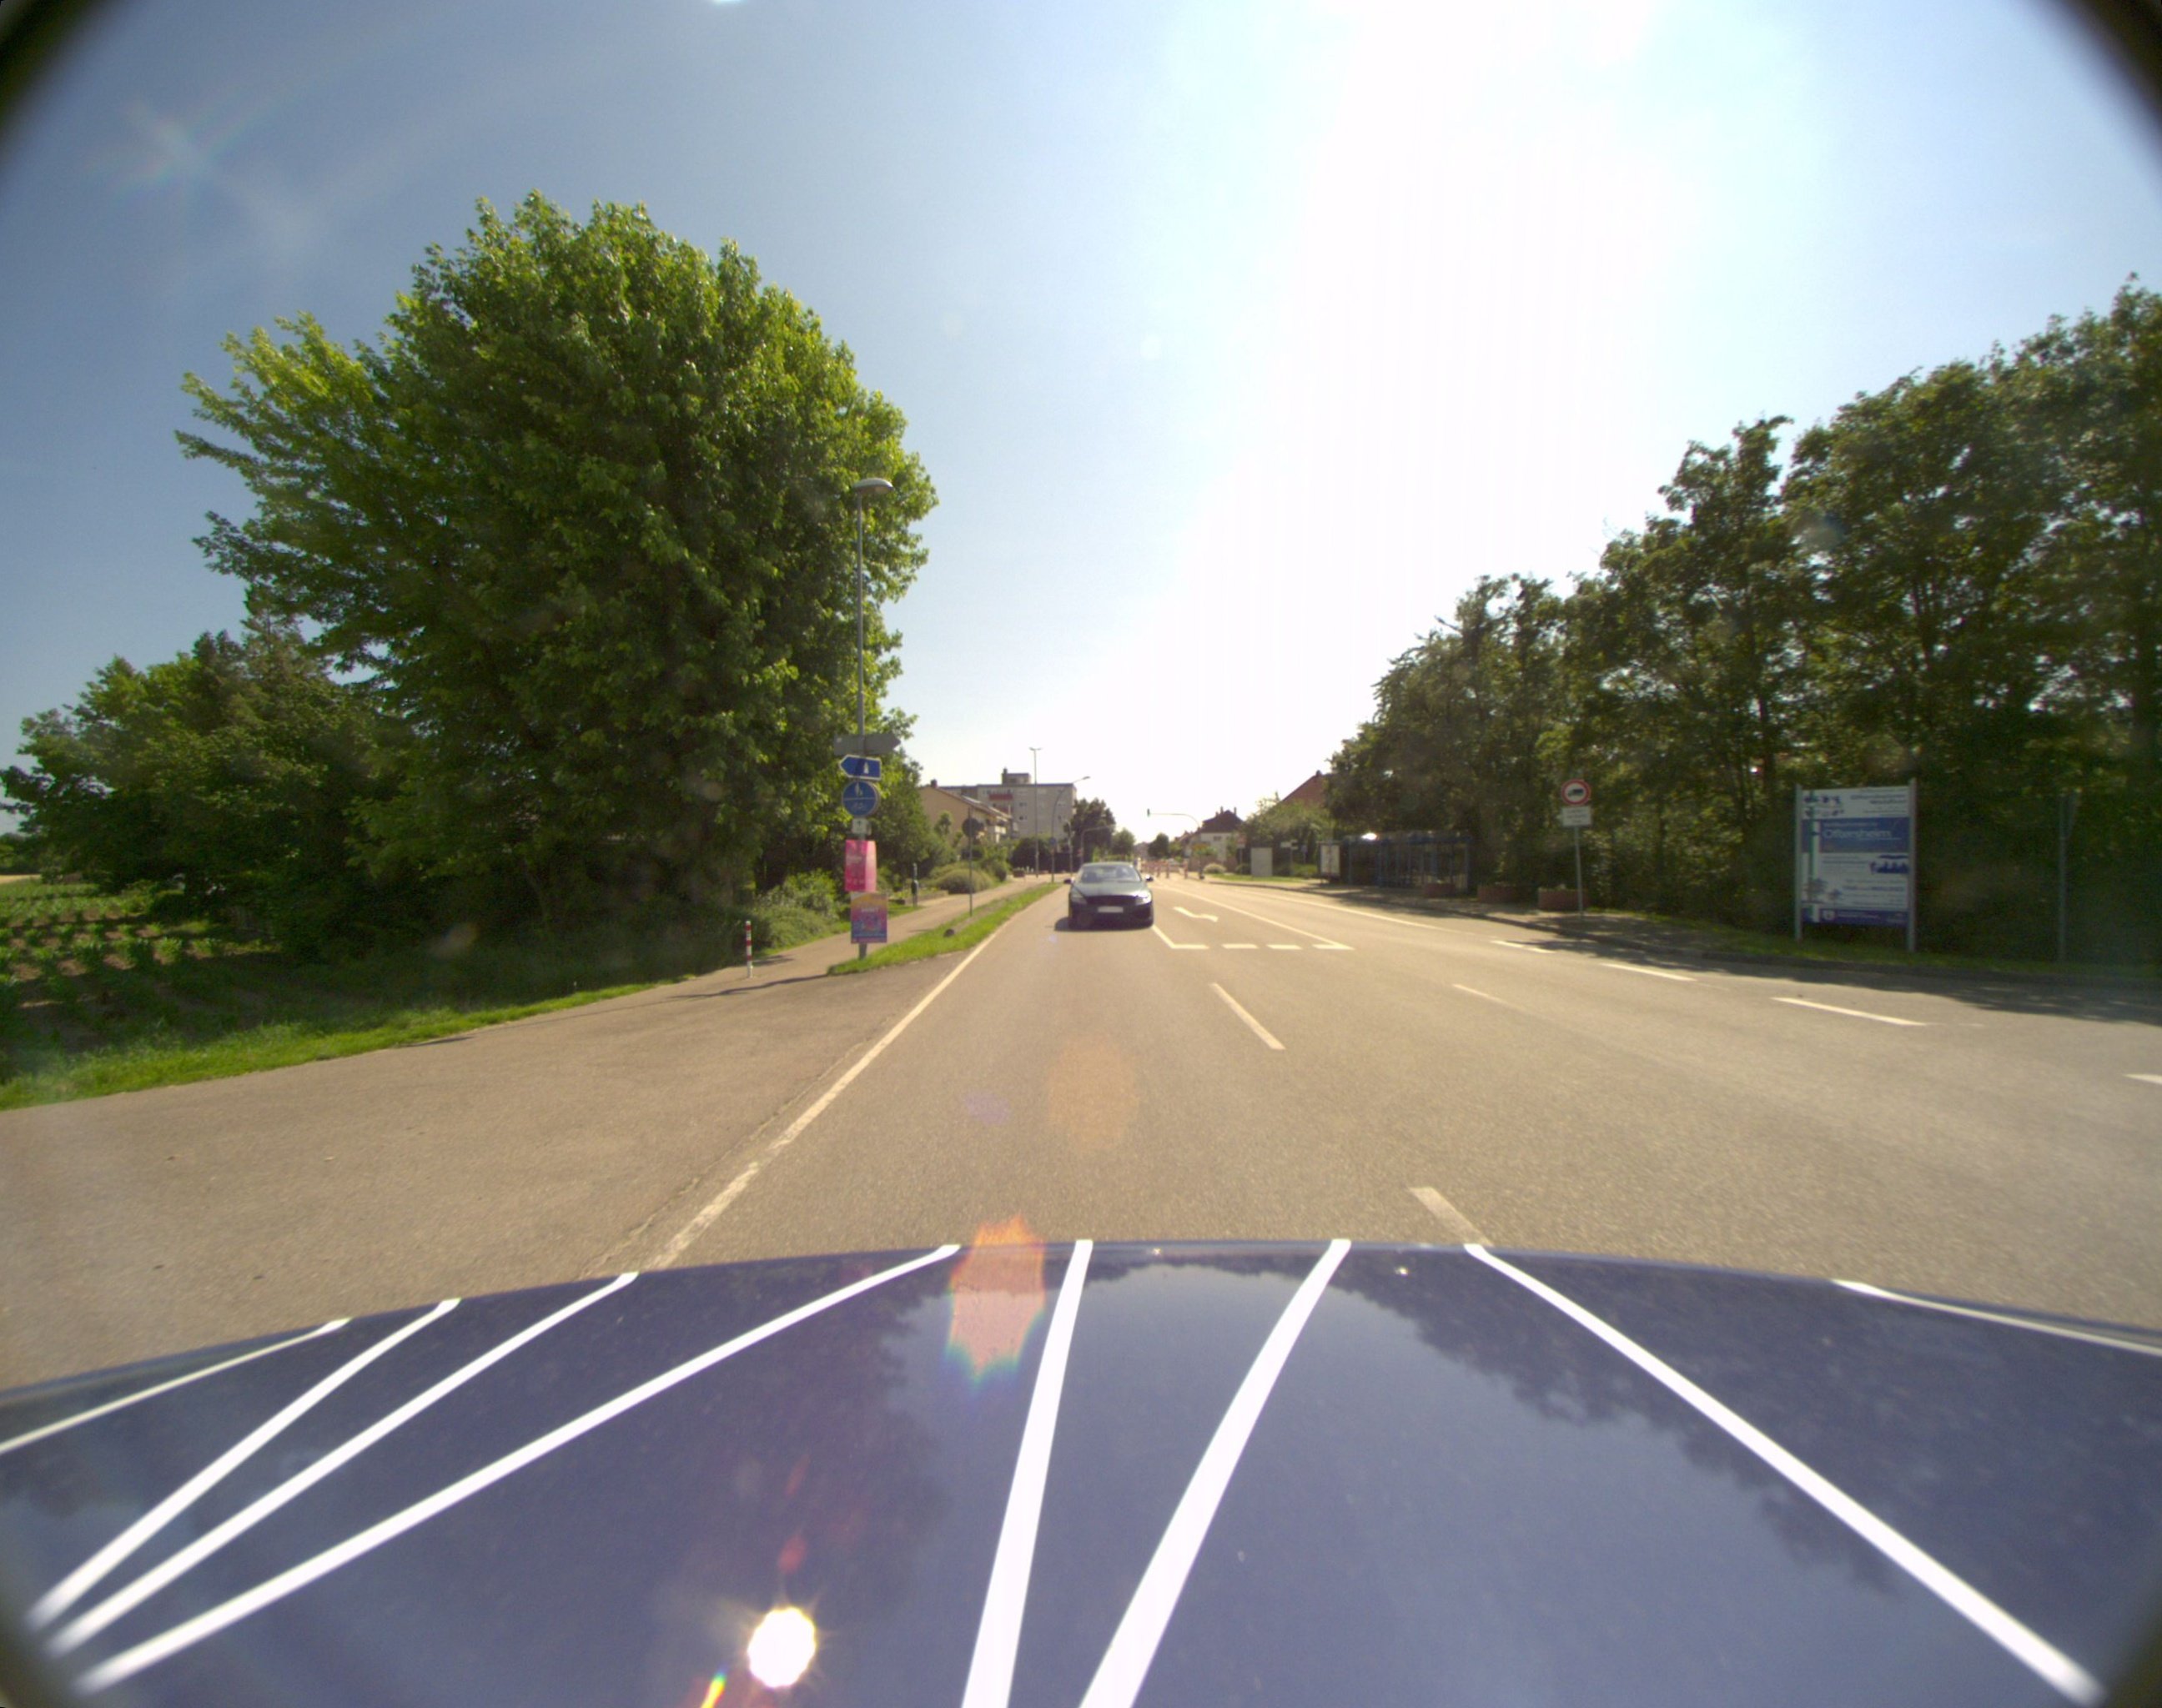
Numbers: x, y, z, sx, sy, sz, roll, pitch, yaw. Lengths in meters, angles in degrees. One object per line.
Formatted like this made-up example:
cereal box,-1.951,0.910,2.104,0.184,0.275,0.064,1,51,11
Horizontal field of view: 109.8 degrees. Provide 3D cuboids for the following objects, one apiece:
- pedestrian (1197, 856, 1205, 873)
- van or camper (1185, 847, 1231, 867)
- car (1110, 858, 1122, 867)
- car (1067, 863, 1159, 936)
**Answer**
pedestrian,11.866,1.046,75.309,0.615,1.598,0.688,-4,0,4
van or camper,18.532,0.410,110.725,6.260,2.827,2.289,0,0,-5
car,5.821,1.406,126.824,1.871,1.585,4.617,0,0,2
car,0.695,0.993,18.438,1.889,1.429,4.838,-2,0,0
